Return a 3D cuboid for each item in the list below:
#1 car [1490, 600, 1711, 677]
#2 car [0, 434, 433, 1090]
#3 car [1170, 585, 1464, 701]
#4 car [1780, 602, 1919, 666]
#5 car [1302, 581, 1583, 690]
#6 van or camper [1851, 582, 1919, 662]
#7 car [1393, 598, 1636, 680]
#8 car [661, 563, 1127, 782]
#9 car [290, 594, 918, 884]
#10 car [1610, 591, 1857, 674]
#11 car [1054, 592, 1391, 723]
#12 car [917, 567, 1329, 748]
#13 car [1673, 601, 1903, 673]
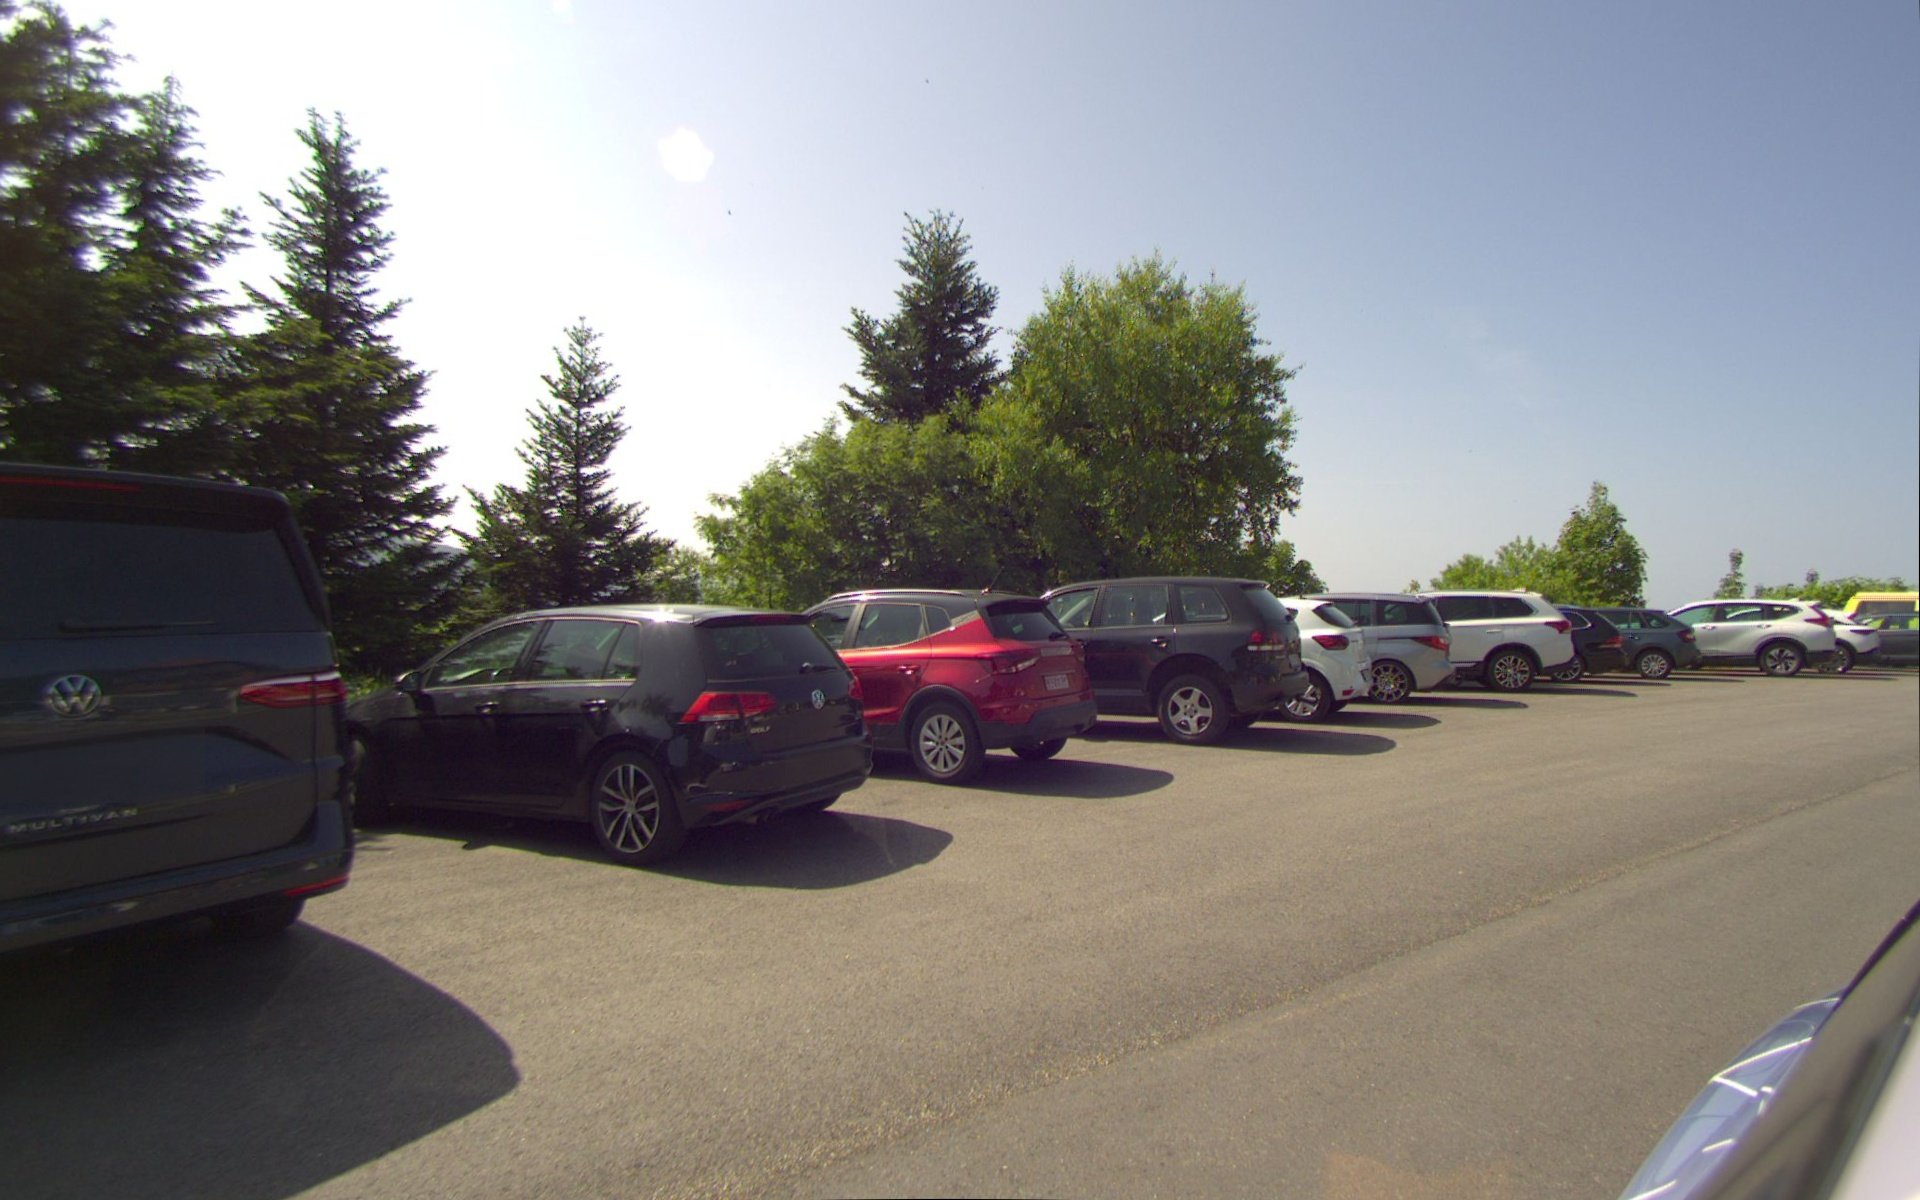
[{"bbox_3d":[13.344,0.778,21.255,3.780,1.478,1.642,-1,-2,34],"label":"car"},{"bbox_3d":[-4.504,0.503,4.612,4.746,1.904,1.939,-1,-1,38],"label":"car"},{"bbox_3d":[5.343,0.617,15.313,3.955,1.569,1.805,-1,-1,24],"label":"car"},{"bbox_3d":[23.082,0.845,24.773,1.779,1.507,4.361,2,-3,-37],"label":"car"},{"bbox_3d":[8.124,0.572,17.504,4.172,1.716,1.852,0,-1,19],"label":"car"},{"bbox_3d":[26.058,0.574,25.478,1.844,2.040,5.111,2,-2,-29],"label":"van or camper"},{"bbox_3d":[10.808,0.742,19.983,4.014,1.480,1.876,-1,-1,28],"label":"car"},{"bbox_3d":[-0.668,0.565,9.287,3.968,1.610,1.842,-1,-1,32],"label":"car"},{"bbox_3d":[-2.410,0.723,6.726,3.962,1.433,1.728,-1,-1,28],"label":"car"},{"bbox_3d":[16.969,0.700,22.440,4.160,1.671,1.866,-1,-1,37],"label":"car"},{"bbox_3d":[3.409,0.678,13.313,3.967,1.495,1.748,-1,-1,31],"label":"car"},{"bbox_3d":[1.809,0.585,11.559,4.237,1.716,1.969,-1,-1,31],"label":"car"},{"bbox_3d":[19.475,0.806,23.909,4.087,1.519,1.913,0,0,45],"label":"car"}]
